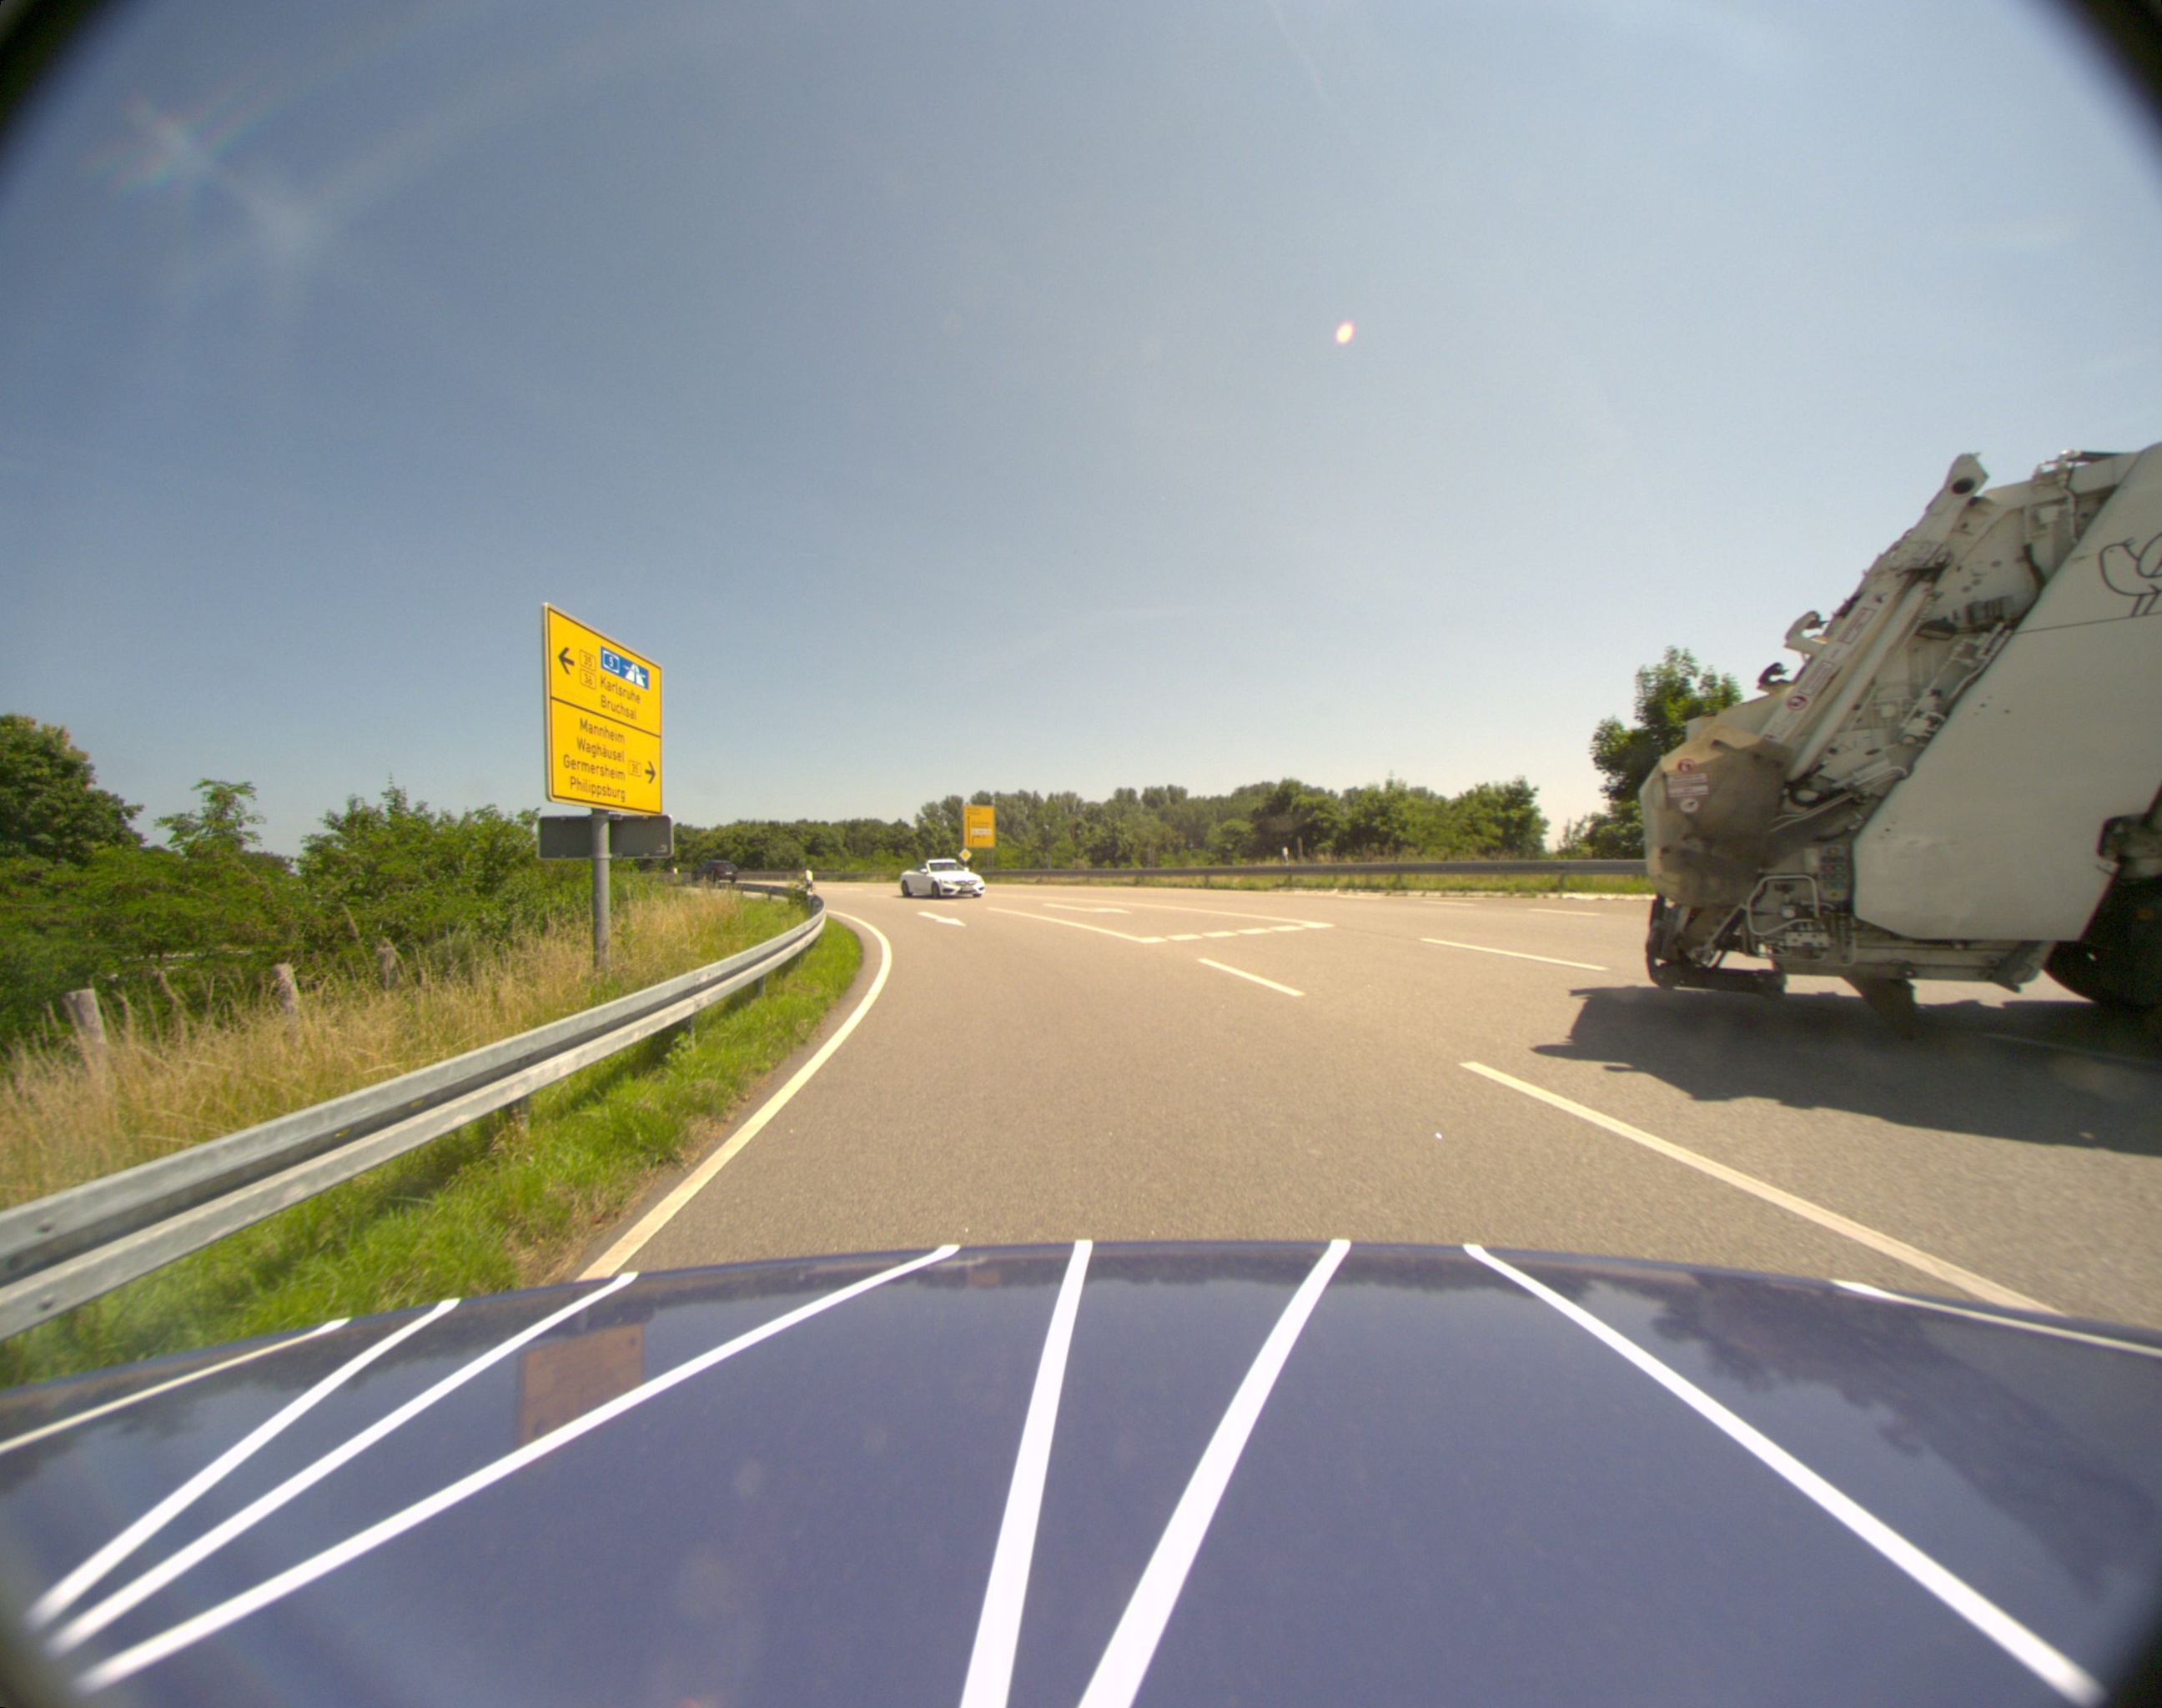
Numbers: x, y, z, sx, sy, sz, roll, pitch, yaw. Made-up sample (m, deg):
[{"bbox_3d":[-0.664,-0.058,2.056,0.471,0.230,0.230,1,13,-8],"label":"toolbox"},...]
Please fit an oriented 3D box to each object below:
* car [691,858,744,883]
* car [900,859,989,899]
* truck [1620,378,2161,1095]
[{"bbox_3d":[-27.505,1.279,57.444,4.555,1.646,1.722,-2,-7,40],"label":"car"},{"bbox_3d":[-5.304,0.930,29.076,1.818,1.407,4.100,-1,0,-34],"label":"car"},{"bbox_3d":[8.531,-0.687,3.254,9.920,3.648,2.828,-2,1,39],"label":"truck"}]
